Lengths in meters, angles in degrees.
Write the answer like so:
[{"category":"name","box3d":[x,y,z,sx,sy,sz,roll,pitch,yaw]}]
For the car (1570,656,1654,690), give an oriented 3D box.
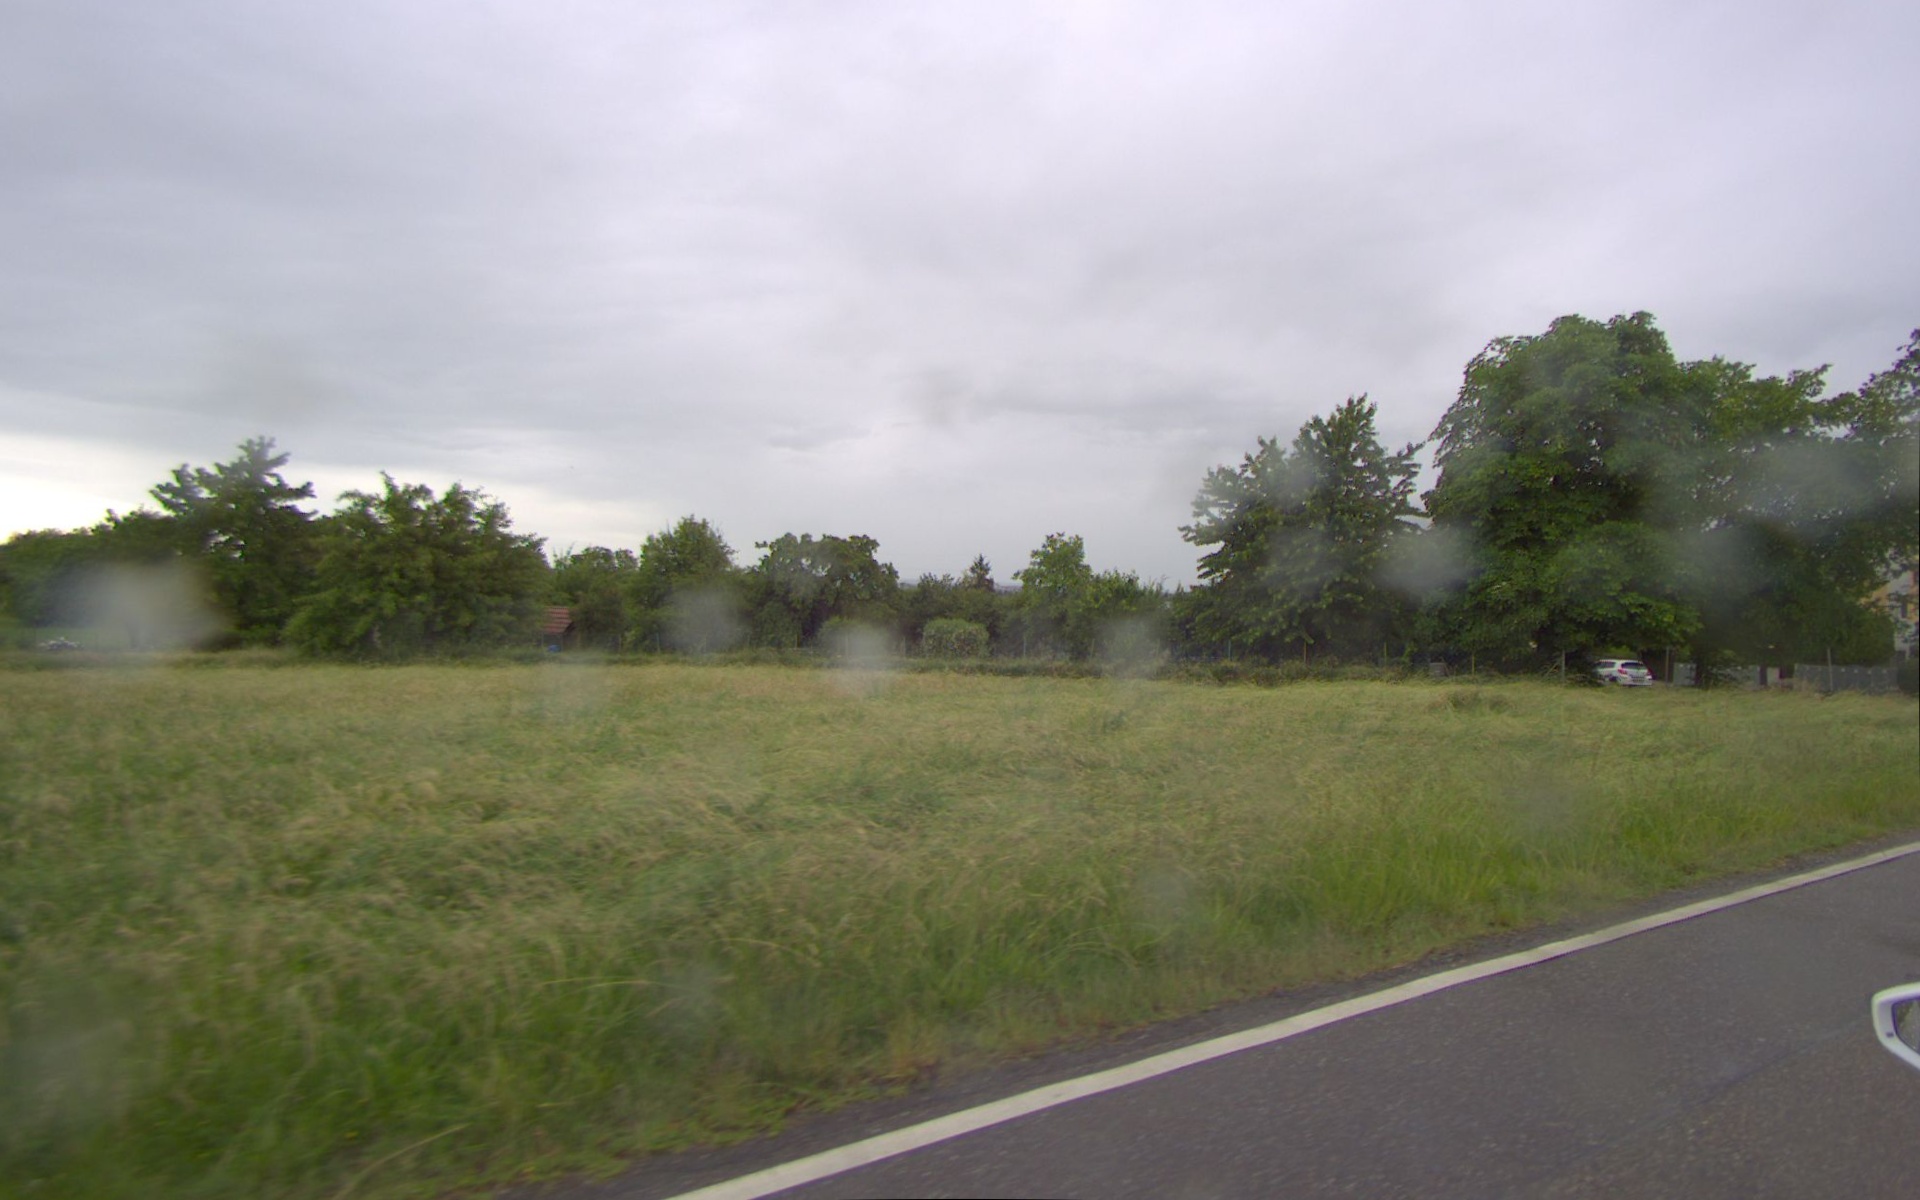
[{"category":"car","box3d":[31.741,3.531,49.005,1.579,1.522,3.727,3,-3,-1]}]
